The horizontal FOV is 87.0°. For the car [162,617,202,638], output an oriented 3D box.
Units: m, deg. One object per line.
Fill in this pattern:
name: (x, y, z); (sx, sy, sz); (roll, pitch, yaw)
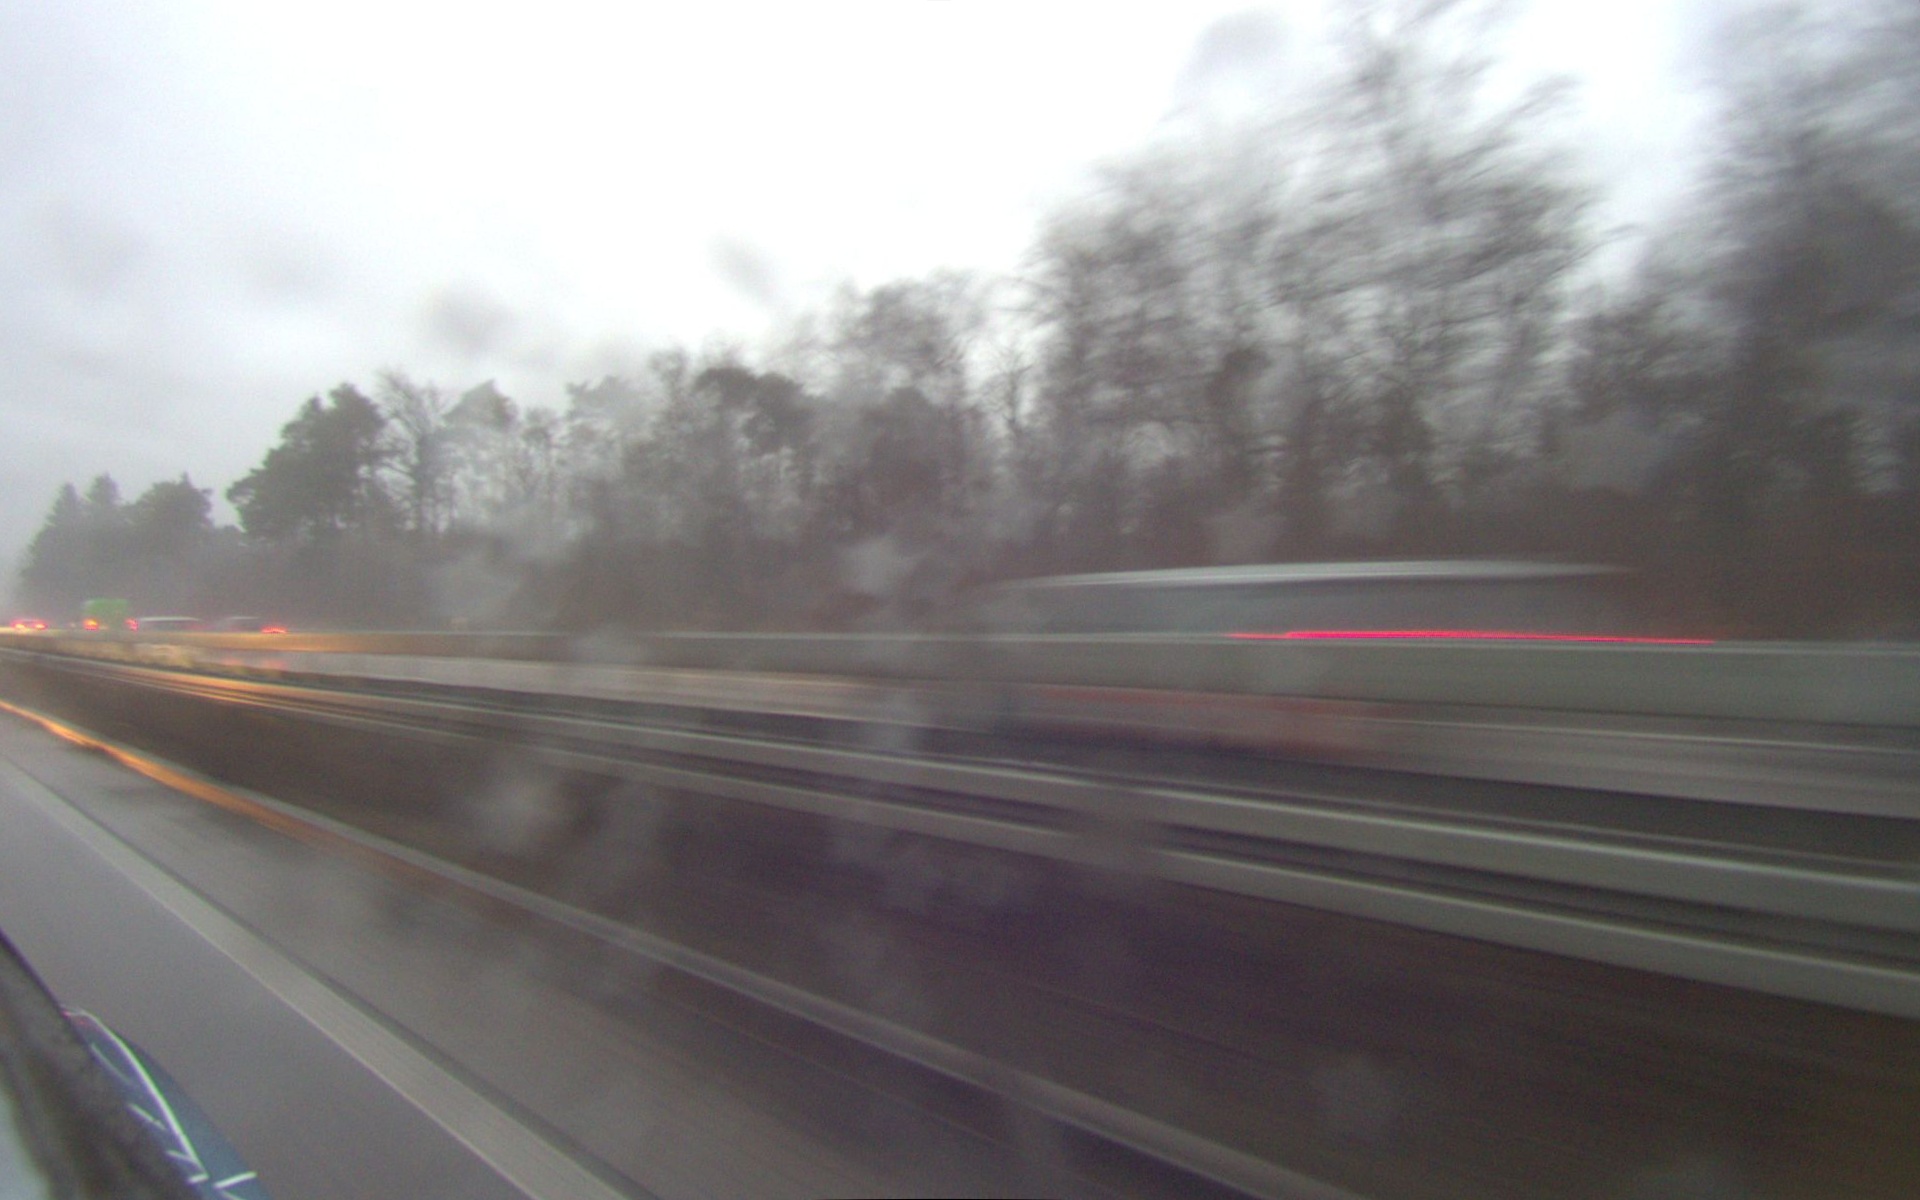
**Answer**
car: (-55.940, 1.974, 72.738); (3.444, 1.468, 1.591); (-1, 0, 40)

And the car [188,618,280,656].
car: (-27.317, 1.348, 38.041); (3.998, 1.294, 1.973); (-1, 0, 41)

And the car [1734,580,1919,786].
car: (8.487, 0.581, 7.129); (4.719, 1.496, 1.735); (-1, 0, 41)

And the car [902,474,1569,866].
car: (1.874, 0.381, 7.796); (4.571, 2.146, 1.973); (0, 0, 41)

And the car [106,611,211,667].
car: (-24.291, 1.121, 30.623); (3.998, 1.557, 1.808); (-1, 0, 41)

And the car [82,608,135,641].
car: (-50.274, 1.418, 59.720); (3.998, 1.898, 1.831); (-1, 0, 41)
